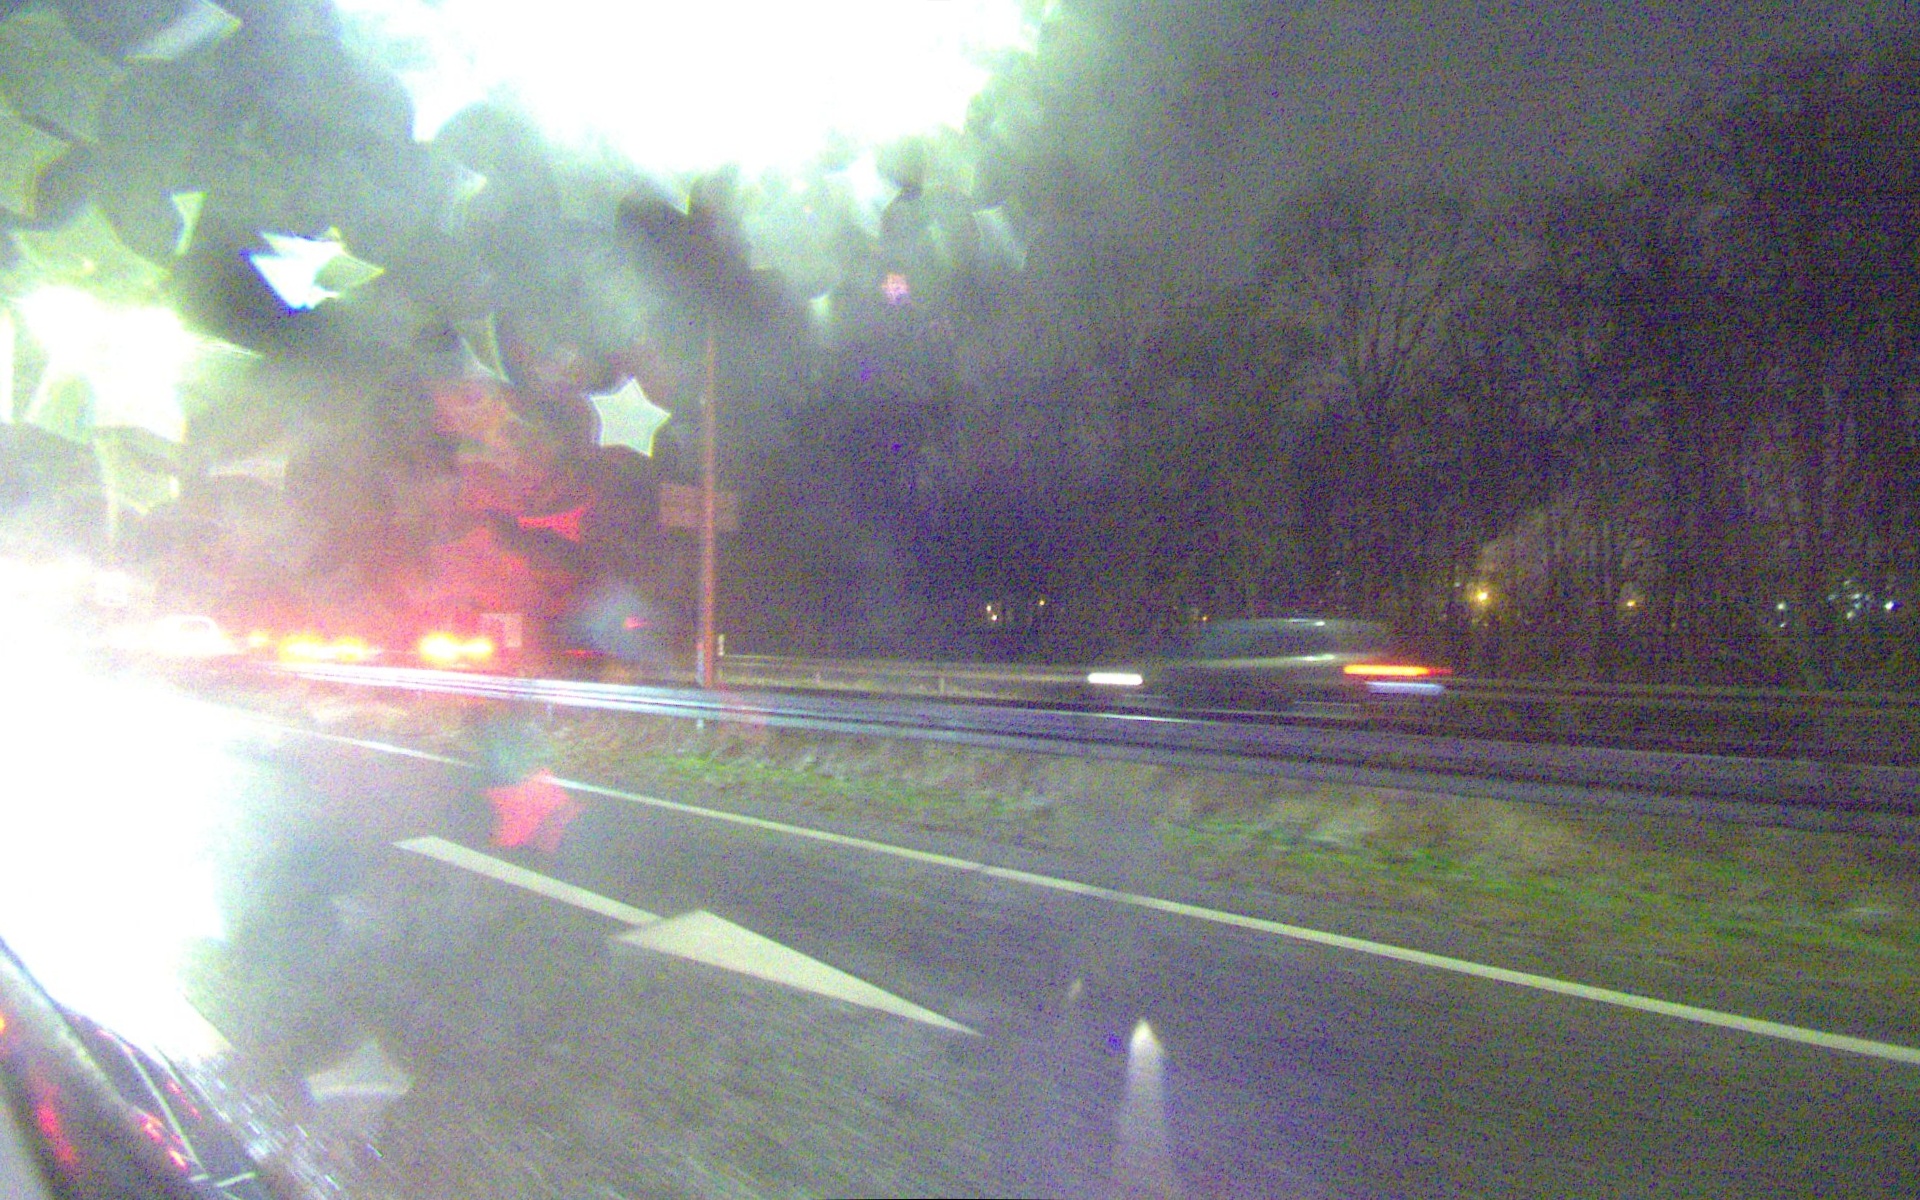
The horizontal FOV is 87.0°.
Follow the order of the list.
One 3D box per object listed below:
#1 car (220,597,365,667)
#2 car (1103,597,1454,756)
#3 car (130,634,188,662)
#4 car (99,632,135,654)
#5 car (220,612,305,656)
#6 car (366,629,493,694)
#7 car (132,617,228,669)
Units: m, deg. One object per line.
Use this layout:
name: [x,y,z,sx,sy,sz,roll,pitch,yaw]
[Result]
car: [-19.096,0.828,28.887,4.701,1.787,2.143,0,1,39]
car: [4.294,0.893,13.975,4.198,1.822,1.973,0,1,41]
car: [-51.701,3.080,65.287,4.893,1.513,2.003,0,1,41]
car: [-65.907,3.337,79.128,3.832,1.563,1.583,0,1,41]
car: [-32.003,1.518,46.360,4.701,1.787,1.974,0,1,40]
car: [-17.298,1.942,32.909,4.701,1.787,1.974,0,1,40]
car: [-30.444,1.611,39.452,4.701,1.787,1.974,0,1,40]
